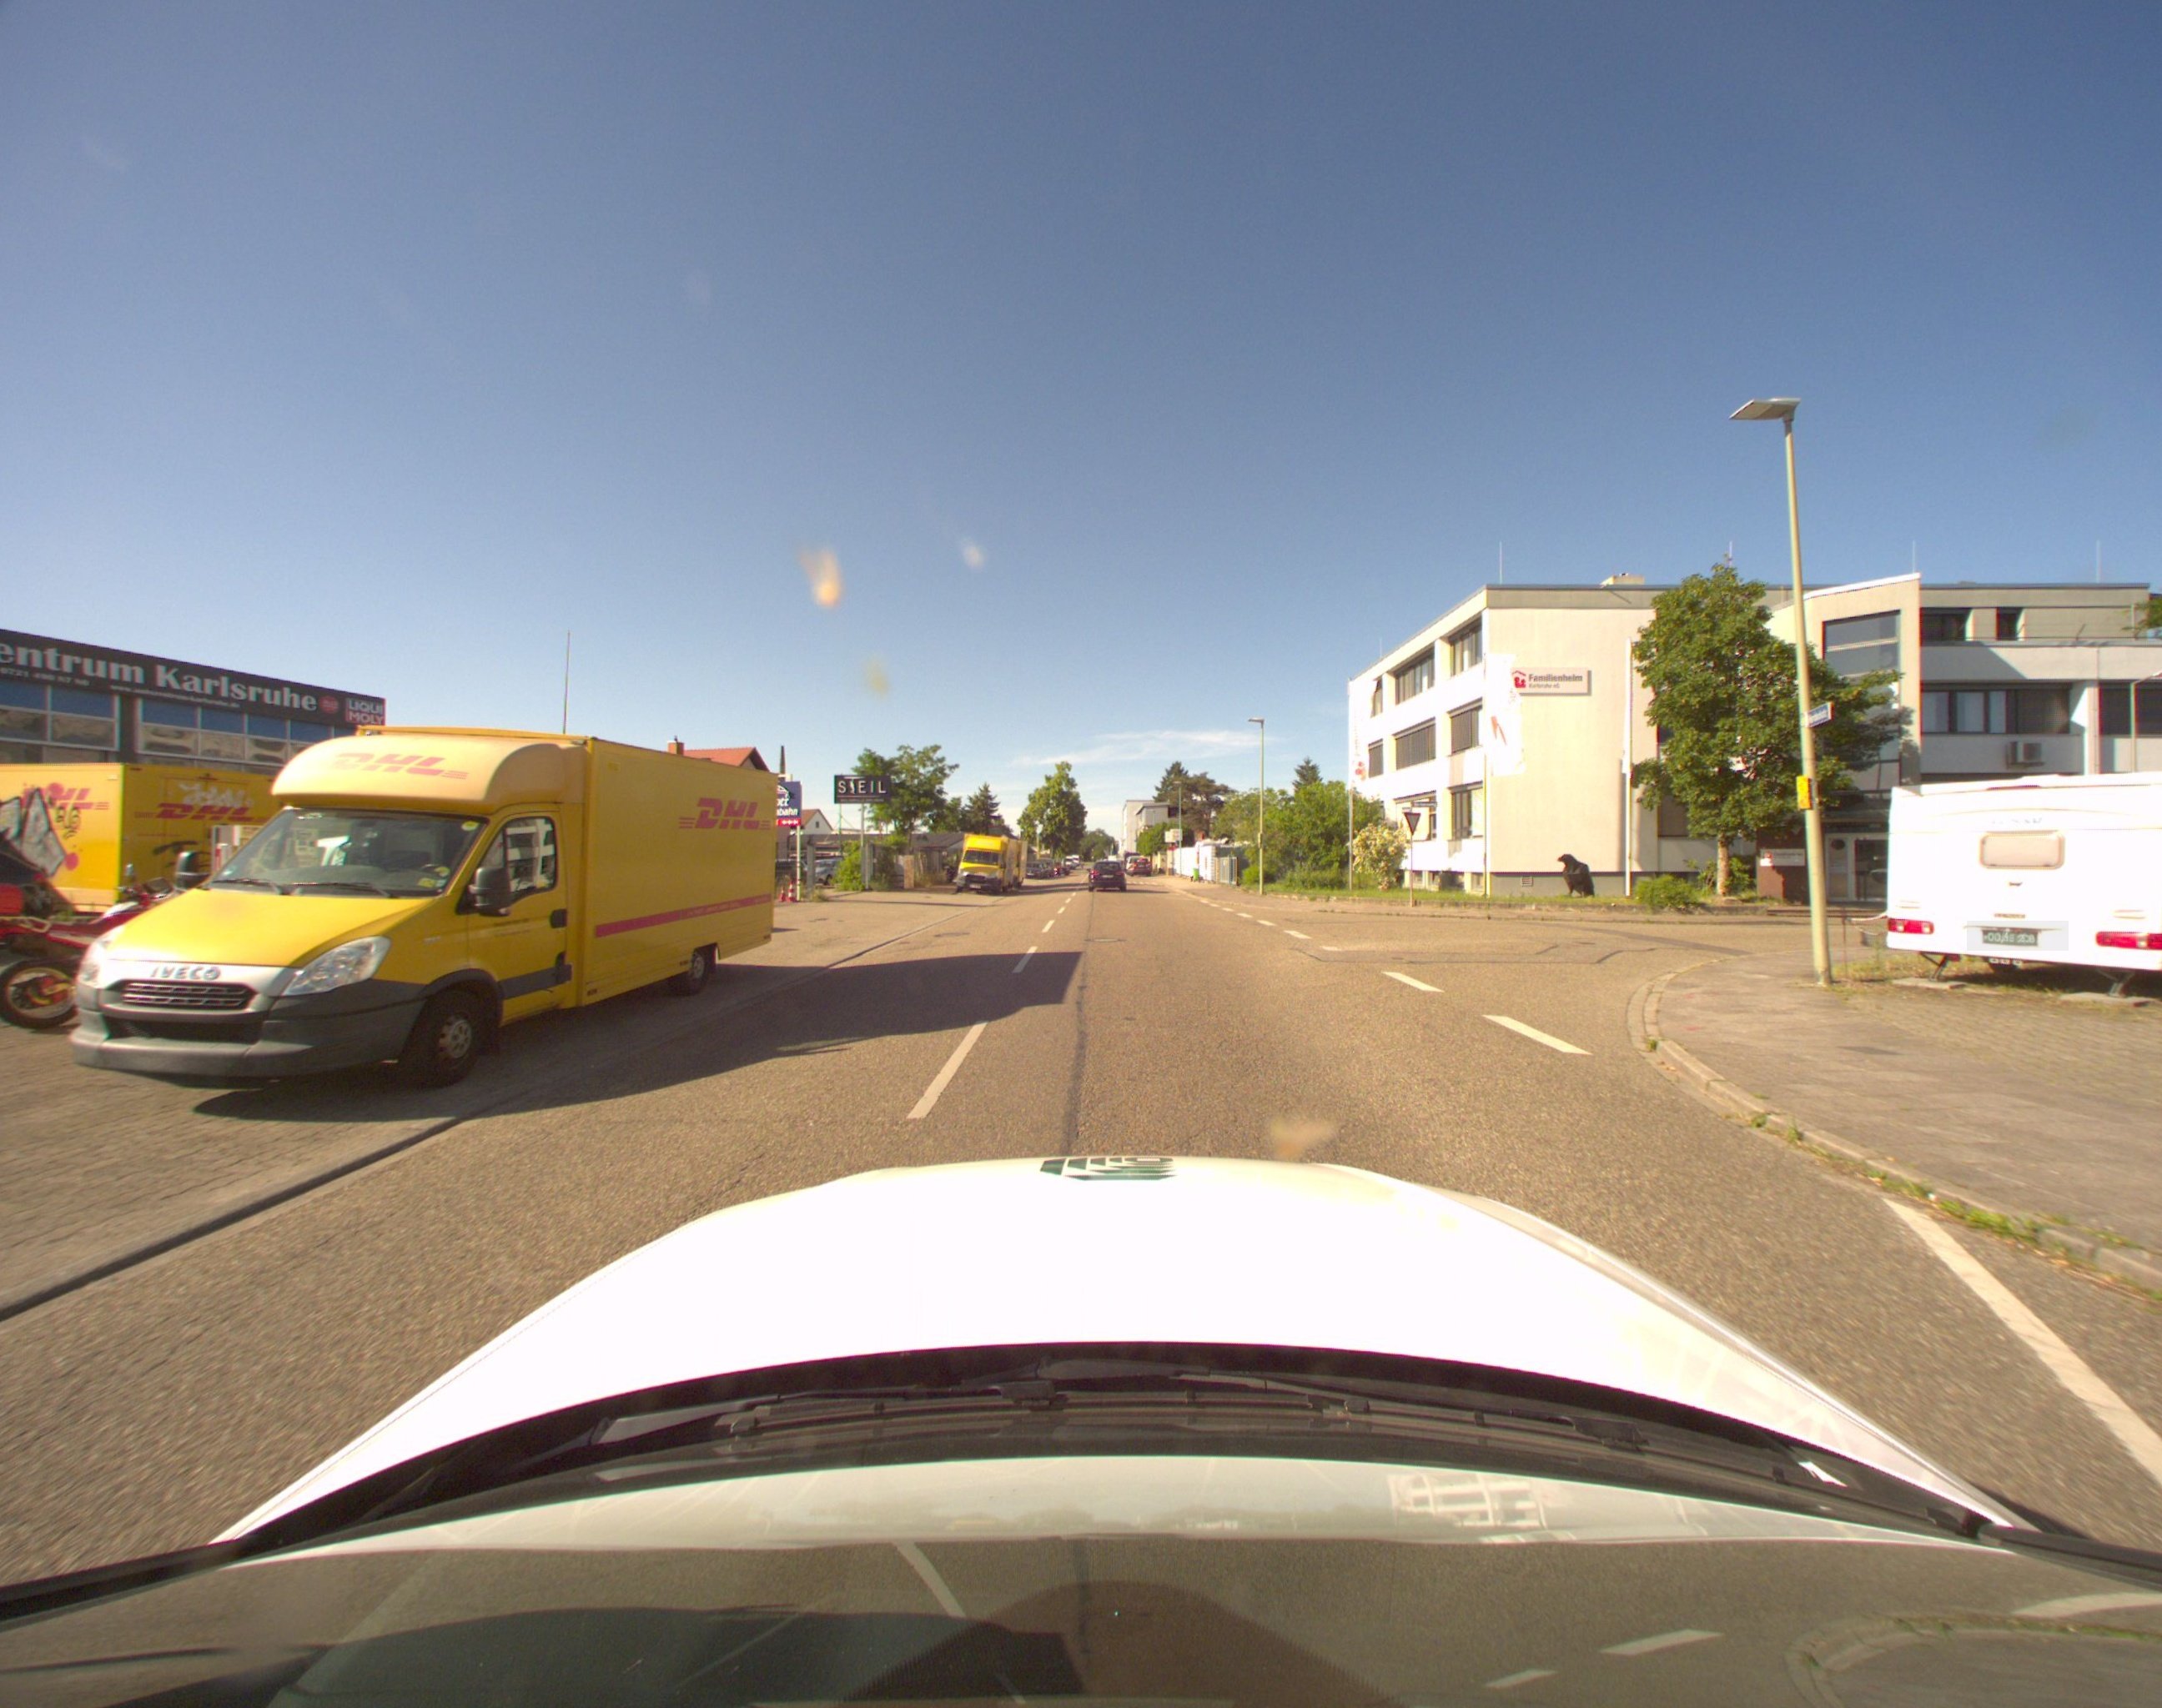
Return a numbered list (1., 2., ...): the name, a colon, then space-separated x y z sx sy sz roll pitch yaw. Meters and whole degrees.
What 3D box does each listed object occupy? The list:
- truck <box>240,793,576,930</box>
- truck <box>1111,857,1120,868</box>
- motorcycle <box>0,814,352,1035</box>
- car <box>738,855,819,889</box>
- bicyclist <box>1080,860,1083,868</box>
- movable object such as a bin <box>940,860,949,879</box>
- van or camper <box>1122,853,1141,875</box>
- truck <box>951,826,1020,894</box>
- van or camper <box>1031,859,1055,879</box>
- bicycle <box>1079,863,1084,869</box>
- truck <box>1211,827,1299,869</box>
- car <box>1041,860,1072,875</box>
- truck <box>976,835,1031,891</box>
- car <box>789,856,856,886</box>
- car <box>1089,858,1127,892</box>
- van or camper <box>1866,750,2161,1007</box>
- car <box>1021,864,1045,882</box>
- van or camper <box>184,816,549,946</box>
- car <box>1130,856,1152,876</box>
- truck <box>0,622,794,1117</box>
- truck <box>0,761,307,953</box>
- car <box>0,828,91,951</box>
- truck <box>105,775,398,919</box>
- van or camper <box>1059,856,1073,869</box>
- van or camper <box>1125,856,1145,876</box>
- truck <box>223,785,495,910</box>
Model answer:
1. truck: -14.108 0.105 17.200 5.881 2.567 2.231 1 0 12
2. truck: 7.719 1.882 183.521 1.986 2.288 6.957 0 -1 1
3. motorcycle: -9.440 0.590 8.410 0.777 1.873 3.045 3 0 5
4. car: -14.842 0.831 40.226 1.682 1.578 4.060 0 0 15
5. bicyclist: 0.122 1.991 161.638 0.693 1.539 0.635 0 -1 -1
6. movable object such as a bin: -10.039 1.143 60.036 0.583 1.340 0.550 0 -1 1
7. van or camper: 5.474 1.106 89.065 1.986 2.310 4.001 0 -1 1
8. truck: -4.565 0.304 40.218 2.394 2.983 6.375 2 -1 2
9. van or camper: -3.640 1.441 78.596 1.883 1.926 4.268 -1 -1 2
10. bicycle: 0.081 2.334 161.679 0.826 1.153 2.940 0 0 0
11. truck: 15.765 -0.509 74.029 7.357 3.771 2.830 0 -1 -3
12. car: -2.596 1.398 84.364 1.884 1.485 4.013 -1 0 -23
13. truck: -4.361 0.490 46.770 2.184 2.902 6.442 2 0 2
14. car: -14.461 0.936 45.810 1.682 1.578 4.060 0 0 15
15. car: 1.308 0.949 38.606 1.705 1.532 3.689 0 0 2
16. van or camper: 12.893 0.255 10.248 5.839 2.541 2.272 0 -1 -24
17. car: -4.039 1.560 68.660 1.751 1.403 4.556 0 0 0
18. van or camper: -12.103 0.429 14.017 4.518 2.014 2.256 0 -1 7
19. car: 5.699 1.129 77.752 1.912 1.825 4.081 0 -1 1
20. truck: -5.586 0.127 8.639 2.395 2.983 7.244 2 -1 0
21. truck: -18.066 -0.014 15.108 5.630 3.119 2.531 2 0 12
22. car: -14.934 0.534 9.366 1.859 1.562 4.213 0 3 0
23. truck: -18.667 -0.127 18.406 5.296 2.972 2.181 0 -1 14
24. van or camper: -2.769 1.629 150.353 2.317 2.362 6.522 0 -1 -3
25. van or camper: 5.563 1.223 83.950 1.912 2.019 4.081 0 -1 1
26. truck: -18.692 -0.139 21.146 6.048 2.972 2.181 0 -1 14
